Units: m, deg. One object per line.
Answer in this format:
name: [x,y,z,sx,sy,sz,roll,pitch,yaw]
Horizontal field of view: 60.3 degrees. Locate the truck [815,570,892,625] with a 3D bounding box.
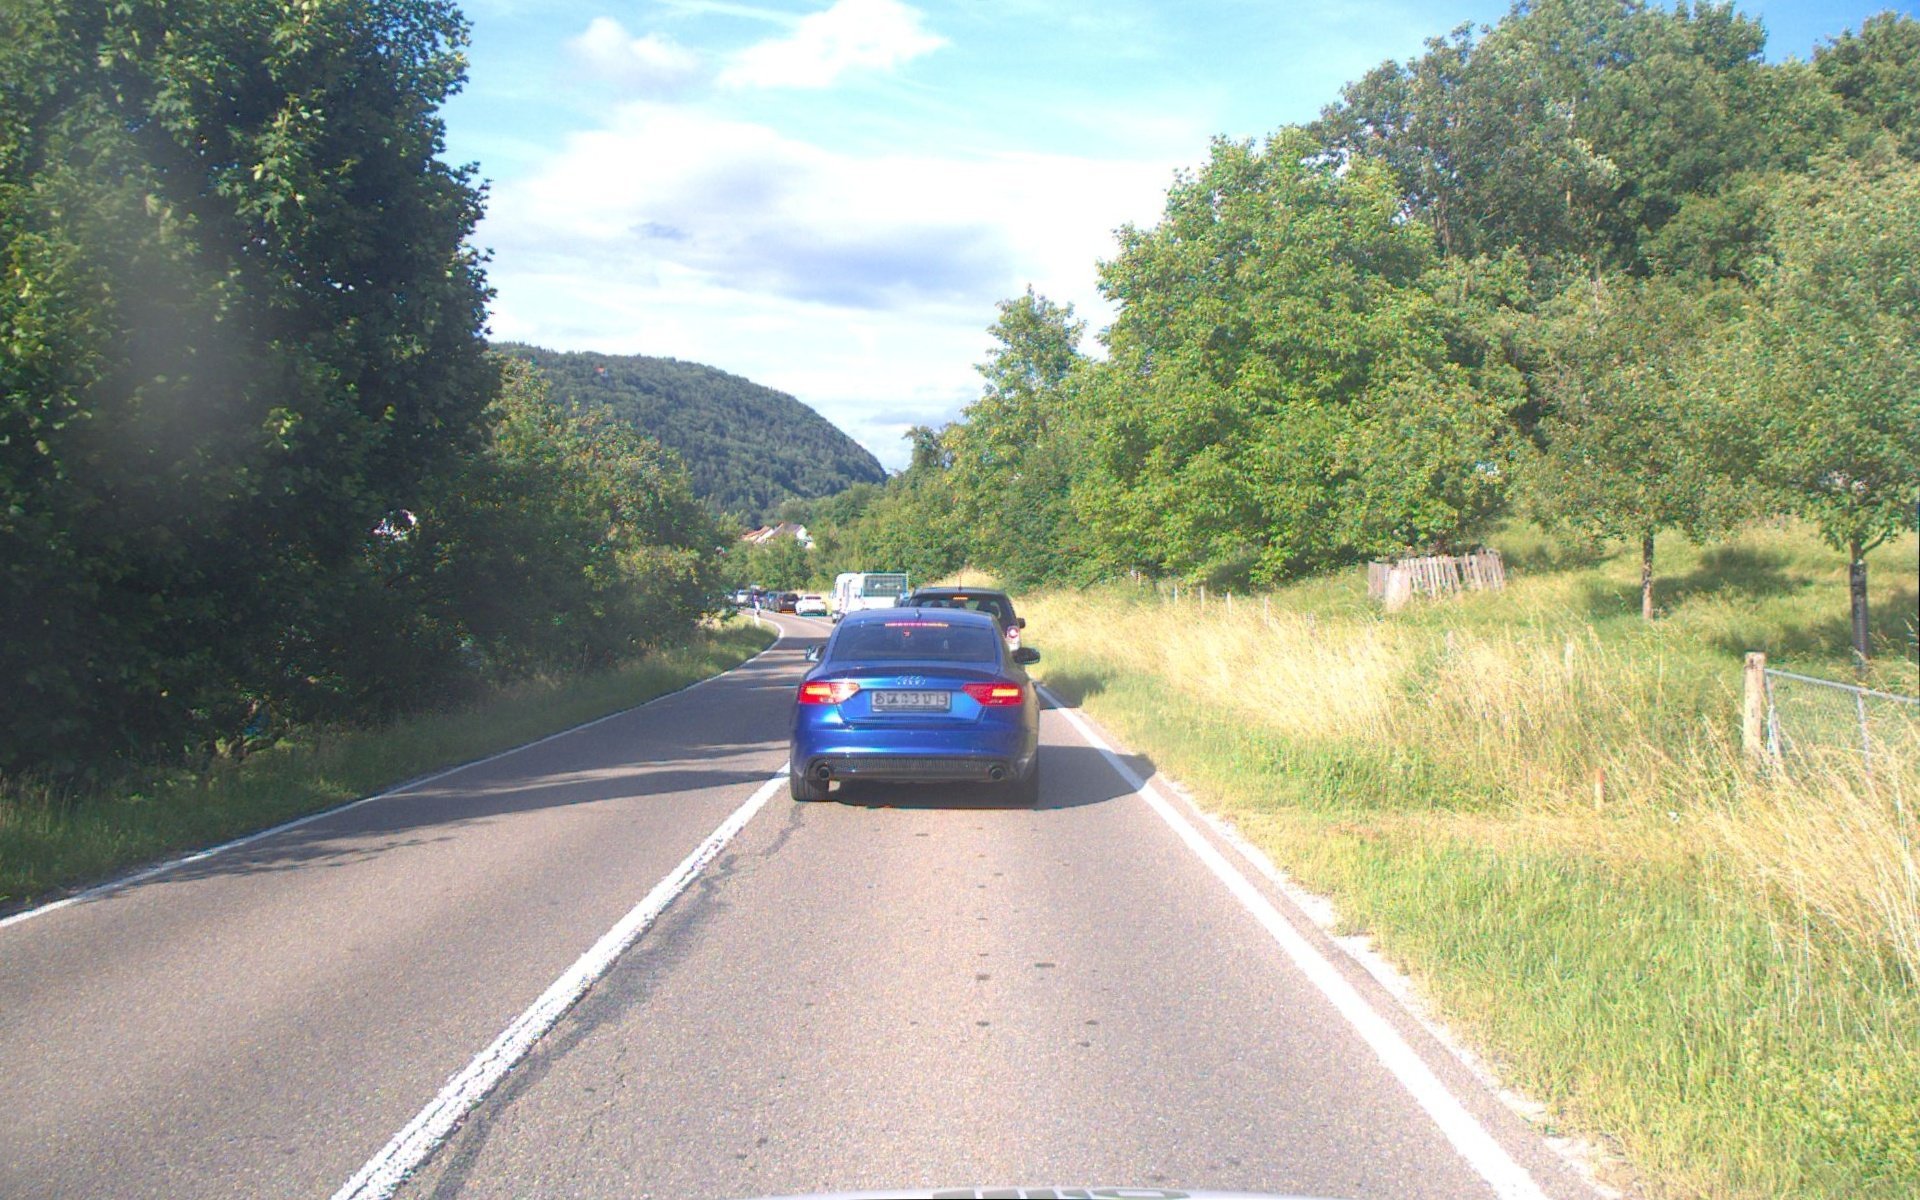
truck: [-5.837,-0.139,88.802,2.813,2.712,10.616,1,0,-11]

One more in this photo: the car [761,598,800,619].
car: [-13.353,0.654,123.162,1.965,1.508,3.976,1,0,-20]

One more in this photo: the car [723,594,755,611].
car: [-20.525,0.260,153.287,1.966,1.508,3.972,1,0,-22]

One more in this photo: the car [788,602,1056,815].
car: [-0.230,0.731,12.925,1.757,1.383,4.000,1,0,0]

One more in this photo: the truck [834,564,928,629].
truck: [-3.709,-0.166,74.822,2.813,2.712,10.365,1,0,-11]

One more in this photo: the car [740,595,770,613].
car: [-17.959,0.318,144.493,1.962,1.508,3.982,1,0,-17]

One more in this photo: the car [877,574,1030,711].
car: [-0.096,0.558,23.286,1.953,1.732,3.999,1,0,0]

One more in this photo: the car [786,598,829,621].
car: [-10.445,0.650,113.035,1.965,1.508,3.976,1,0,-20]

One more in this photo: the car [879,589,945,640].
car: [-1.448,0.452,51.392,1.953,1.508,3.999,1,0,0]

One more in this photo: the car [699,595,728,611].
car: [-24.940,0.289,167.134,1.966,1.508,3.972,1,0,-22]
